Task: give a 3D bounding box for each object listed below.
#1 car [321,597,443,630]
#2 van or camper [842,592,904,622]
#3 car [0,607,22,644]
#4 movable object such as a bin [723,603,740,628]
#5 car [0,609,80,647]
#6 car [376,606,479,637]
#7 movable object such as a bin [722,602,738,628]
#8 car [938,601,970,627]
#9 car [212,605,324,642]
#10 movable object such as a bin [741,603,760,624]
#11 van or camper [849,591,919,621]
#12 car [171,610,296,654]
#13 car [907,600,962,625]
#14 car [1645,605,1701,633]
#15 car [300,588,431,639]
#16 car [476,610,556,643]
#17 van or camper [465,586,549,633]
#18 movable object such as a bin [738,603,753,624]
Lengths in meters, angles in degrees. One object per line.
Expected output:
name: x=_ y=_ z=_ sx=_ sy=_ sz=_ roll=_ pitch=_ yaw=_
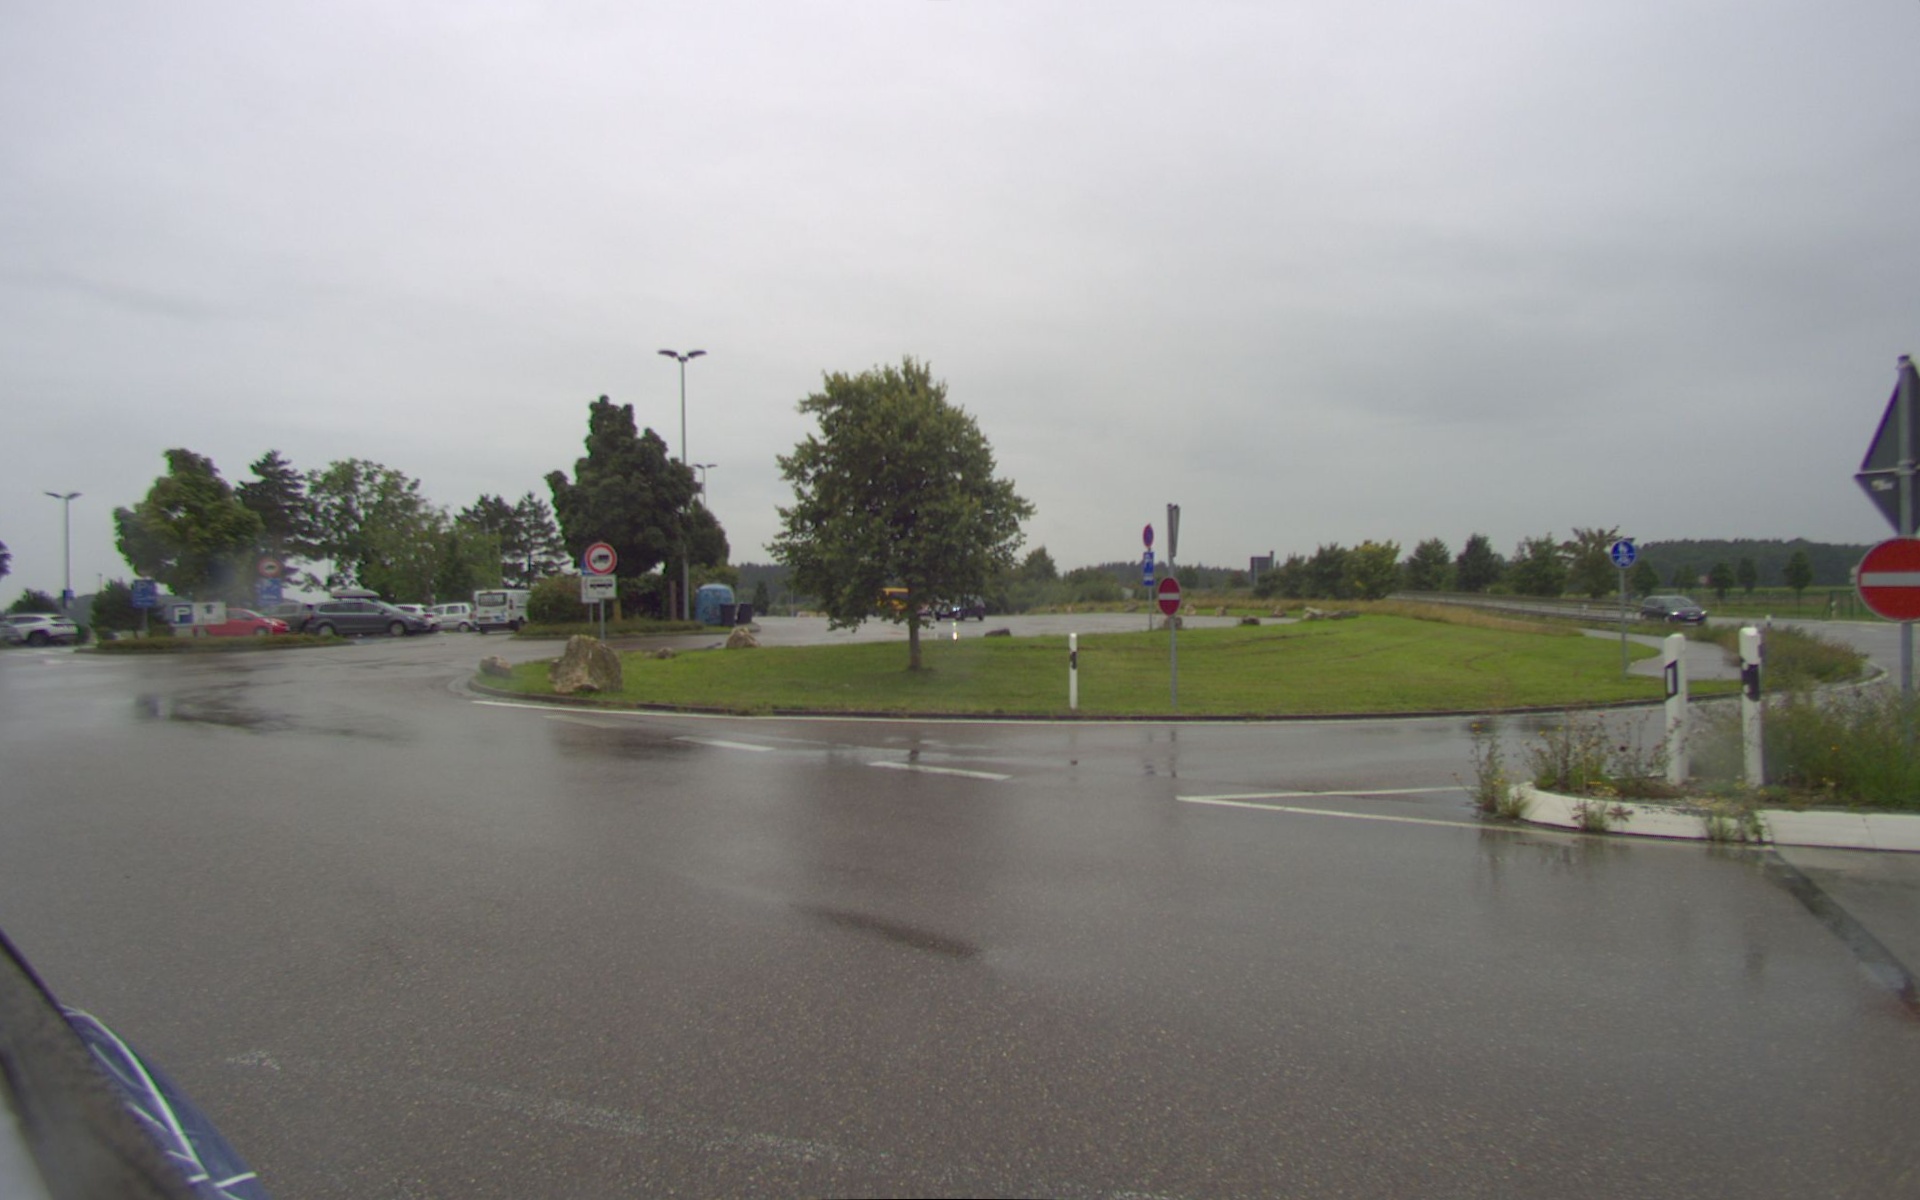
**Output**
car: x=-27.490 y=0.617 z=48.311 sx=4.690 sy=1.483 sz=1.890 roll=-1 pitch=0 yaw=-11
van or camper: x=-8.234 y=0.673 z=96.400 sx=1.994 sy=2.736 sz=6.989 roll=1 pitch=1 yaw=33
car: x=-45.726 y=1.198 z=46.155 sx=3.983 sy=1.705 sz=1.803 roll=-1 pitch=0 yaw=-9
movable object such as a bin: x=-8.509 y=0.580 z=37.705 sx=0.445 sy=0.924 sz=0.487 roll=0 pitch=0 yaw=9
car: x=-45.585 y=1.363 z=49.106 sx=3.979 sy=1.705 sz=1.718 roll=-1 pitch=0 yaw=-18
car: x=-29.634 y=1.169 z=56.424 sx=4.690 sy=1.599 sz=2.005 roll=-1 pitch=0 yaw=-11
movable object such as a bin: x=-8.440 y=0.565 z=37.152 sx=0.445 sy=0.946 sz=0.487 roll=0 pitch=0 yaw=9
car: x=-0.361 y=0.768 z=57.443 sx=1.754 sy=1.444 sz=4.079 roll=0 pitch=0 yaw=-1
car: x=-35.720 y=1.178 z=52.355 sx=4.327 sy=1.792 sz=1.931 roll=-1 pitch=0 yaw=-14
movable object such as a bin: x=-9.201 y=0.586 z=44.534 sx=0.625 sy=0.927 sz=0.553 roll=-1 pitch=0 yaw=20
van or camper: x=-5.904 y=0.476 z=80.042 sx=2.129 sy=2.263 sz=6.345 roll=0 pitch=0 yaw=33
car: x=-33.835 y=1.466 z=47.277 sx=4.327 sy=1.899 sz=1.931 roll=-1 pitch=0 yaw=-14
car: x=-1.651 y=0.817 z=67.312 sx=1.547 sy=1.567 sz=4.007 roll=-1 pitch=0 yaw=36
car: x=39.609 y=1.037 z=56.277 sx=1.575 sy=1.464 sz=3.731 roll=0 pitch=0 yaw=20
car: x=-26.779 y=0.580 z=45.763 sx=4.690 sy=2.205 sz=2.005 roll=-1 pitch=0 yaw=-11
car: x=-30.446 y=1.793 z=69.516 sx=4.690 sy=2.097 sz=2.005 roll=-1 pitch=0 yaw=-11
van or camper: x=-21.362 y=0.400 z=48.011 sx=2.161 sy=1.959 sz=5.206 roll=0 pitch=2 yaw=-6
movable object such as a bin: x=-9.249 y=0.579 z=43.675 sx=0.491 sy=0.927 sz=0.413 roll=-1 pitch=0 yaw=20
